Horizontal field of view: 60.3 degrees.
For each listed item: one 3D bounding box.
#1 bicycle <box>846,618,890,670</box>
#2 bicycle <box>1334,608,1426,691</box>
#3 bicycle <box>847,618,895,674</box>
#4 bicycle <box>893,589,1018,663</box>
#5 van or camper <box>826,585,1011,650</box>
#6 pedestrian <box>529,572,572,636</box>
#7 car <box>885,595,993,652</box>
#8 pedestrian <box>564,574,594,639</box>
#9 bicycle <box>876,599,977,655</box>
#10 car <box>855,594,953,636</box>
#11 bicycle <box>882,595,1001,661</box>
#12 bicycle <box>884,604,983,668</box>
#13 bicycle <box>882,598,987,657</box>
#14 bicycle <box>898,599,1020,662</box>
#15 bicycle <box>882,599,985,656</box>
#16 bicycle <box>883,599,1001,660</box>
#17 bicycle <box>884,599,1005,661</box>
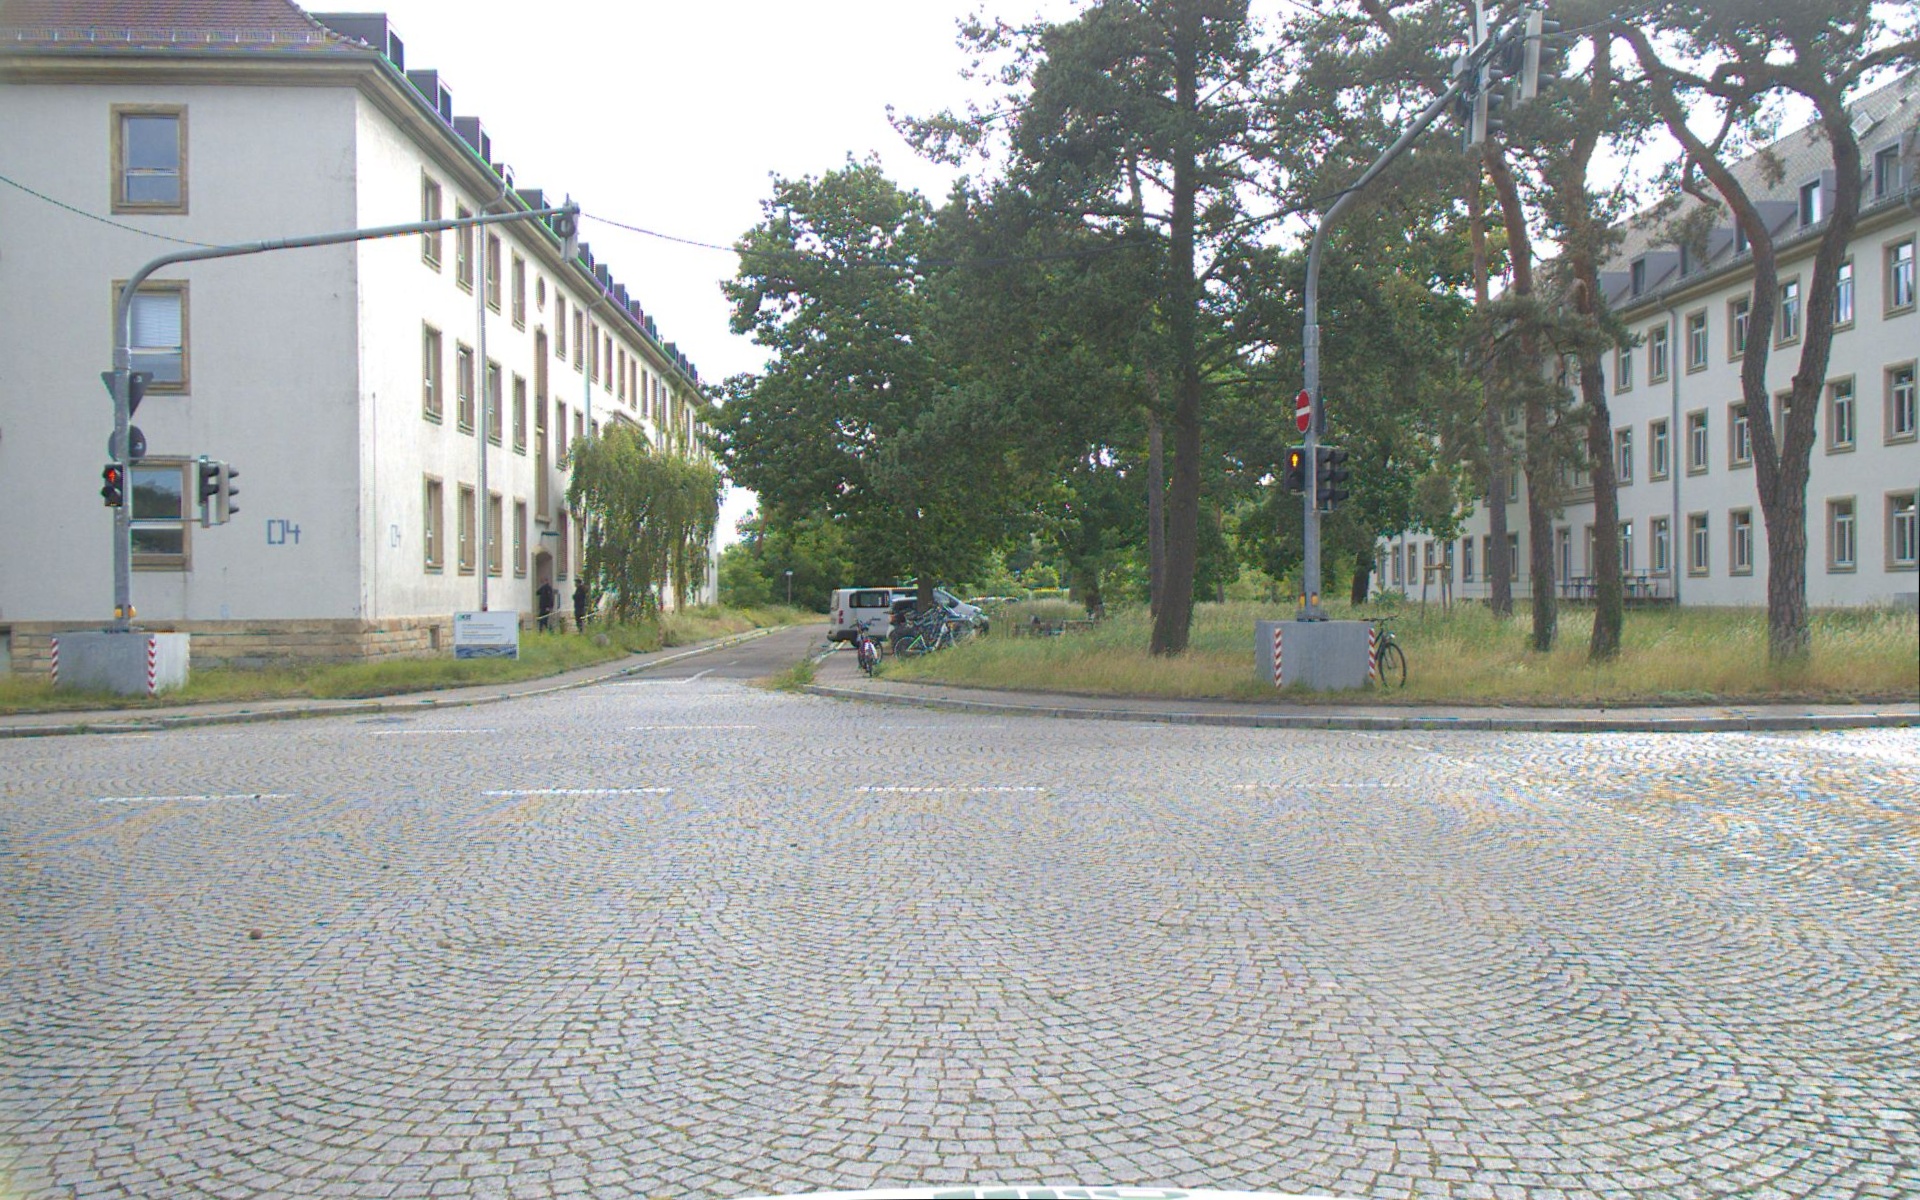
[{"bbox_3d":[-1.881,0.895,34.093,0.712,1.014,1.979,0,0,2],"label":"bicycle"},{"bbox_3d":[5.981,0.685,23.645,0.632,1.081,1.832,-4,0,-5],"label":"bicycle"},{"bbox_3d":[-1.719,0.878,32.007,0.882,1.014,1.977,0,0,-3],"label":"bicycle"},{"bbox_3d":[-0.119,0.578,36.947,2.747,1.611,0.950,0,0,-3],"label":"bicycle"},{"bbox_3d":[-1.348,0.547,53.553,5.646,1.991,2.229,-1,0,-15],"label":"van or camper"},{"bbox_3d":[-12.353,0.126,49.949,1.174,1.903,1.545,1,-1,-13],"label":"pedestrian"},{"bbox_3d":[-0.665,0.709,50.054,3.161,1.649,1.936,1,-1,-4],"label":"car"},{"bbox_3d":[-11.767,0.191,51.104,0.850,1.966,0.834,2,-1,-14],"label":"pedestrian"},{"bbox_3d":[-0.872,0.678,41.914,2.517,1.396,0.950,0,0,-4],"label":"bicycle"},{"bbox_3d":[-2.315,0.591,67.327,3.909,1.628,1.702,-1,0,-5],"label":"car"},{"bbox_3d":[-0.421,0.595,36.062,2.567,1.391,0.874,0,0,-3],"label":"bicycle"},{"bbox_3d":[-0.581,0.767,35.442,2.071,1.329,0.874,0,0,-3],"label":"bicycle"},{"bbox_3d":[-0.627,0.667,40.246,2.517,1.396,0.950,0,0,-4],"label":"bicycle"},{"bbox_3d":[-0.032,0.683,37.882,2.747,1.396,0.950,0,0,-3],"label":"bicycle"},{"bbox_3d":[-0.676,0.673,41.085,2.517,1.396,0.950,0,0,-4],"label":"bicycle"},{"bbox_3d":[-0.442,0.690,39.291,2.747,1.396,0.950,0,0,-3],"label":"bicycle"},{"bbox_3d":[-0.375,0.683,38.400,2.747,1.396,0.950,0,0,-3],"label":"bicycle"}]
